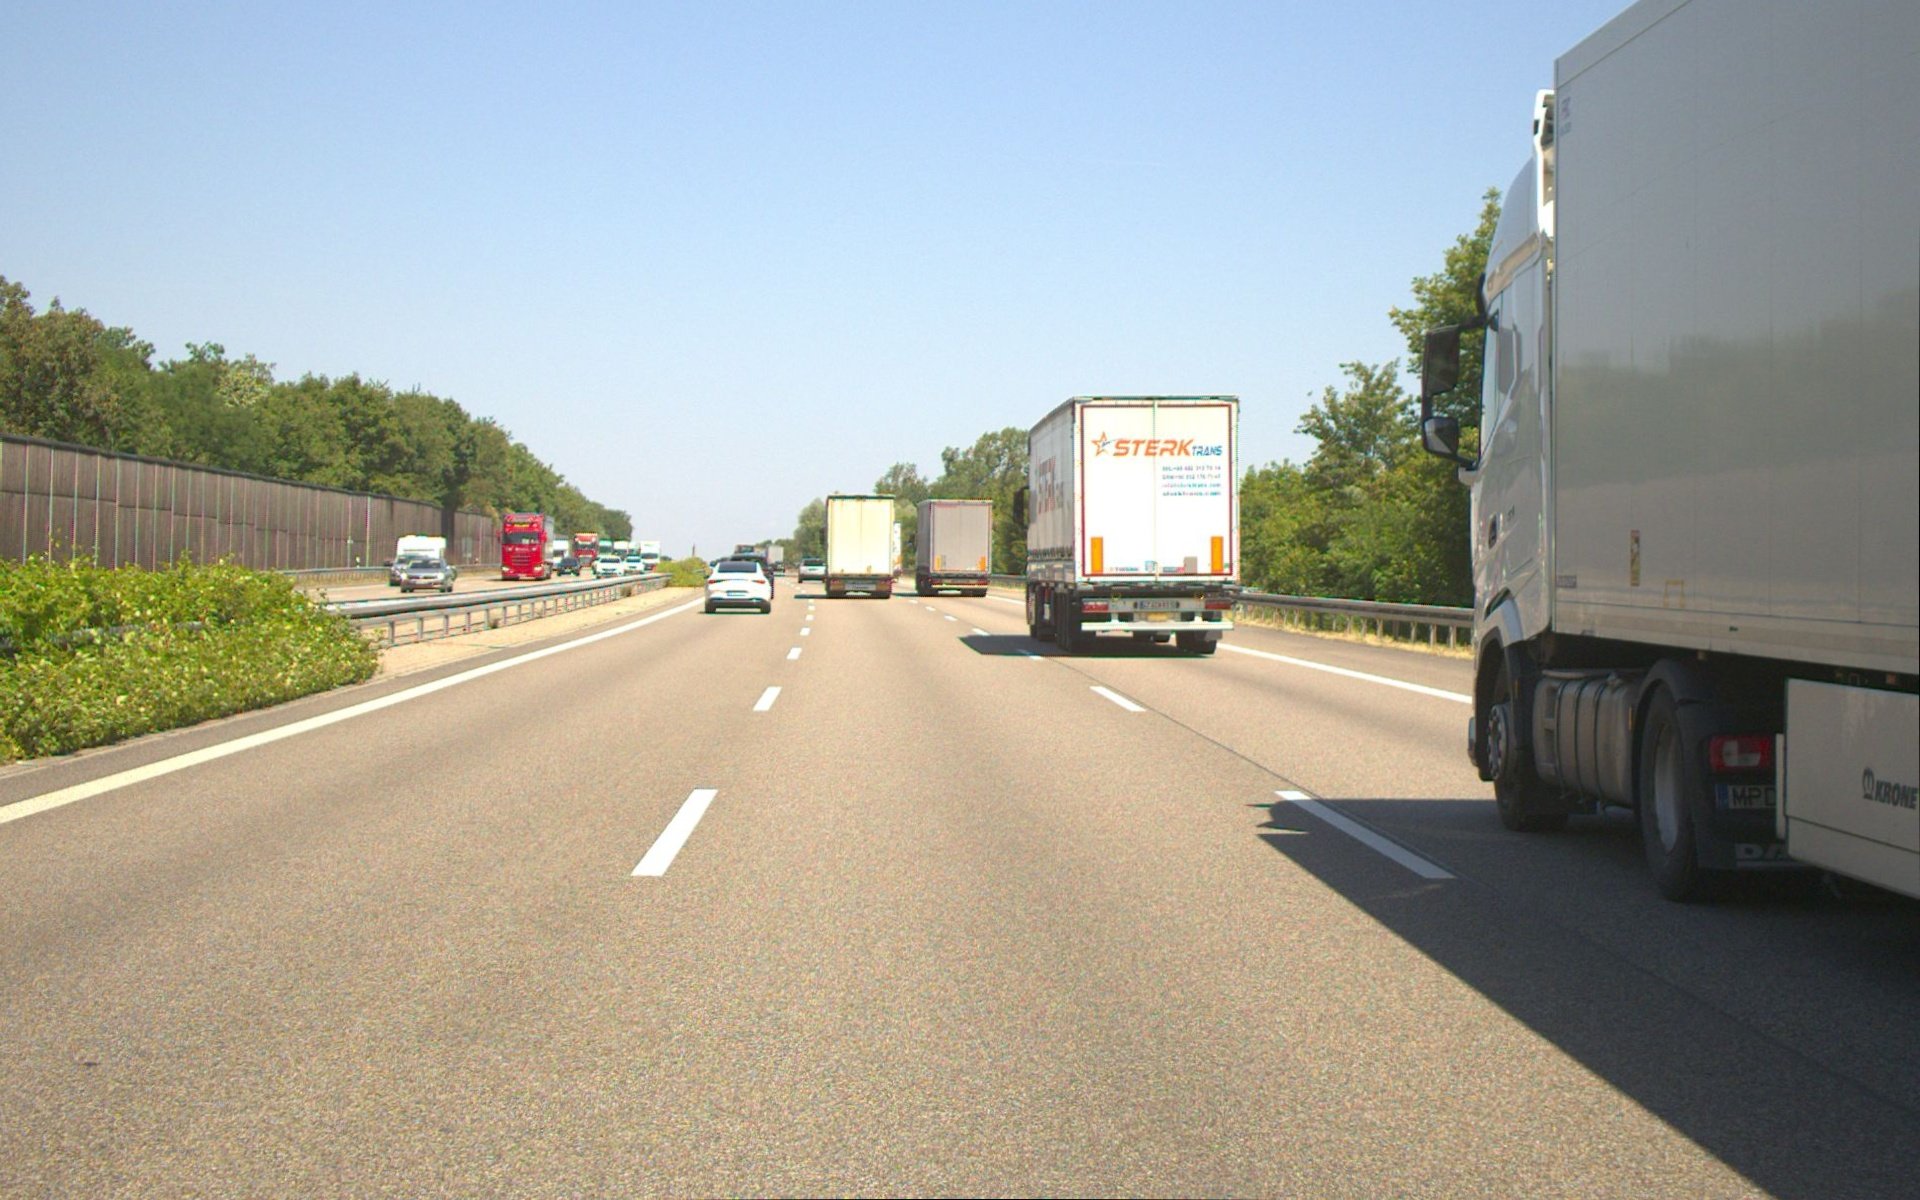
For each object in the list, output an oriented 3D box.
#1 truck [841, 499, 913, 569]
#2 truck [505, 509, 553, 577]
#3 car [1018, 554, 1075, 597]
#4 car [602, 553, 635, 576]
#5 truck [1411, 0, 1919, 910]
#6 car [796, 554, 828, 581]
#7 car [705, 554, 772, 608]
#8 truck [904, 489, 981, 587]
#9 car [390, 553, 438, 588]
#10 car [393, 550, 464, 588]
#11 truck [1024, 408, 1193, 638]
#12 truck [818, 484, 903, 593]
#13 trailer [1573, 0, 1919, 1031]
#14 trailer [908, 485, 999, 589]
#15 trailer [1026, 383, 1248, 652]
[{"bbox_3d":[-5.506,-4.288,225.549,3.373,4.289,11.452,4,0,-7],"label":"truck"},{"bbox_3d":[-26.453,-3.484,211.214,2.358,4.062,7.154,1,1,-2],"label":"truck"},{"bbox_3d":[3.291,-0.933,131.605,1.855,1.611,4.000,1,1,-3],"label":"car"},{"bbox_3d":[-22.339,-2.332,224.977,1.899,1.515,4.419,0,1,-3],"label":"car"},{"bbox_3d":[4.352,-0.741,18.008,2.959,4.092,6.207,0,1,-2],"label":"truck"},{"bbox_3d":[-9.183,-2.017,214.129,1.855,1.611,4.000,1,1,-1],"label":"car"},{"bbox_3d":[-6.287,-0.546,97.676,1.855,1.481,4.001,1,1,-4],"label":"car"},{"bbox_3d":[-0.833,-2.727,153.385,2.691,4.201,7.839,2,0,-5],"label":"truck"},{"bbox_3d":[-27.514,-1.506,173.299,1.899,1.705,4.907,0,1,-4],"label":"car"},{"bbox_3d":[-21.864,-1.278,141.549,2.124,1.517,5.983,1,1,-1],"label":"car"},{"bbox_3d":[2.728,-1.415,65.033,2.707,4.074,6.965,1,0,-1],"label":"truck"},{"bbox_3d":[-4.091,-2.414,138.564,2.706,4.072,13.476,2,0,-4],"label":"truck"},{"bbox_3d":[4.537,-0.667,9.826,2.959,4.092,12.533,0,1,-2],"label":"trailer"},{"bbox_3d":[-0.373,-2.658,147.903,2.703,4.201,13.214,2,0,-5],"label":"trailer"},{"bbox_3d":[2.841,-1.329,59.730,2.707,4.074,14.152,1,1,-1],"label":"trailer"}]
